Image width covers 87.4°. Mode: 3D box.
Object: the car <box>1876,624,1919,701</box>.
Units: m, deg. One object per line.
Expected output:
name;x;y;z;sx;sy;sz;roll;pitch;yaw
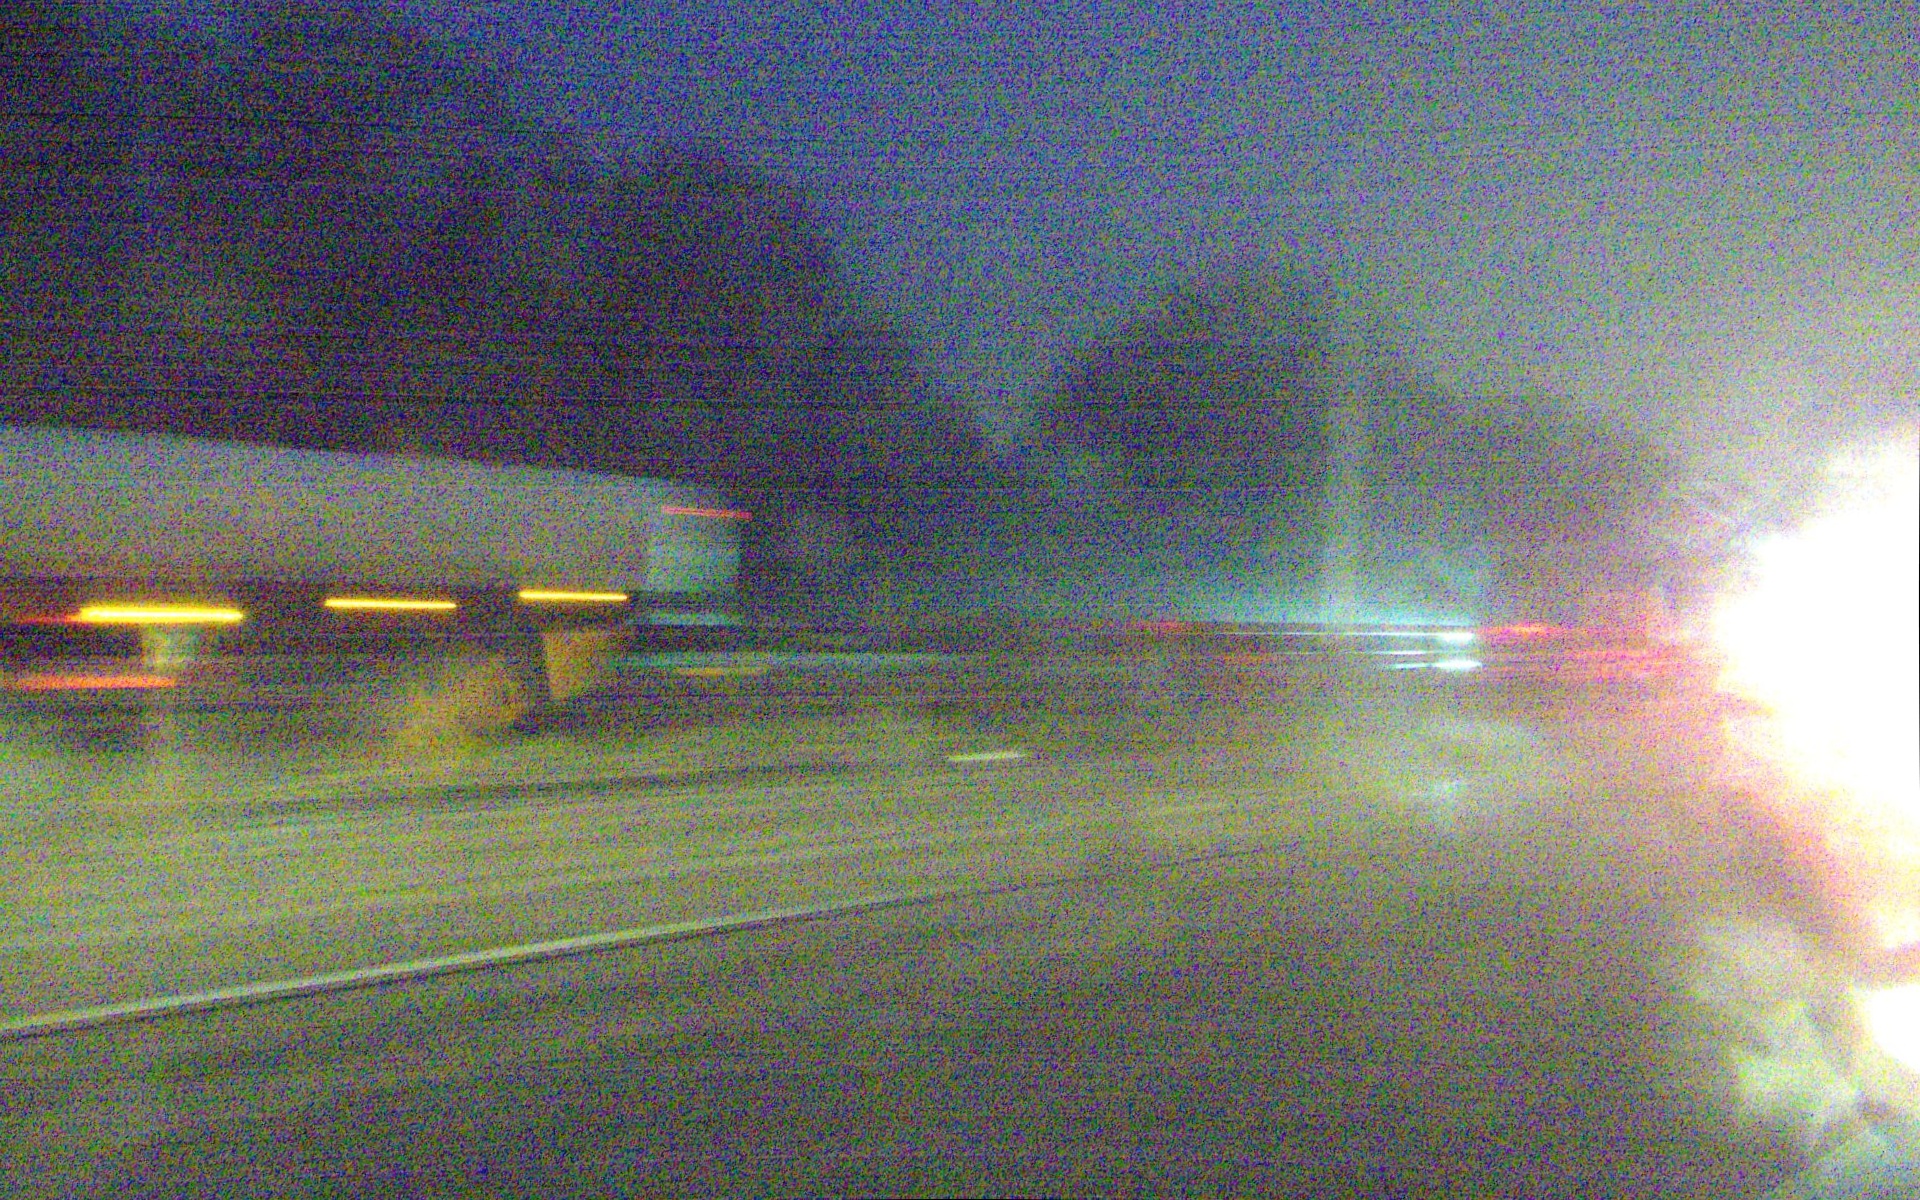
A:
car;21.839;1.360;21.700;4.859;1.537;1.758;2;0;-32

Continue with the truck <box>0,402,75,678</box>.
truck;-14.699;-0.864;12.798;4.587;3.503;2.591;2;0;-30

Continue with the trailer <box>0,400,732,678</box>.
trailer;-9.134;-0.643;16.089;10.326;3.519;2.596;2;0;-31
